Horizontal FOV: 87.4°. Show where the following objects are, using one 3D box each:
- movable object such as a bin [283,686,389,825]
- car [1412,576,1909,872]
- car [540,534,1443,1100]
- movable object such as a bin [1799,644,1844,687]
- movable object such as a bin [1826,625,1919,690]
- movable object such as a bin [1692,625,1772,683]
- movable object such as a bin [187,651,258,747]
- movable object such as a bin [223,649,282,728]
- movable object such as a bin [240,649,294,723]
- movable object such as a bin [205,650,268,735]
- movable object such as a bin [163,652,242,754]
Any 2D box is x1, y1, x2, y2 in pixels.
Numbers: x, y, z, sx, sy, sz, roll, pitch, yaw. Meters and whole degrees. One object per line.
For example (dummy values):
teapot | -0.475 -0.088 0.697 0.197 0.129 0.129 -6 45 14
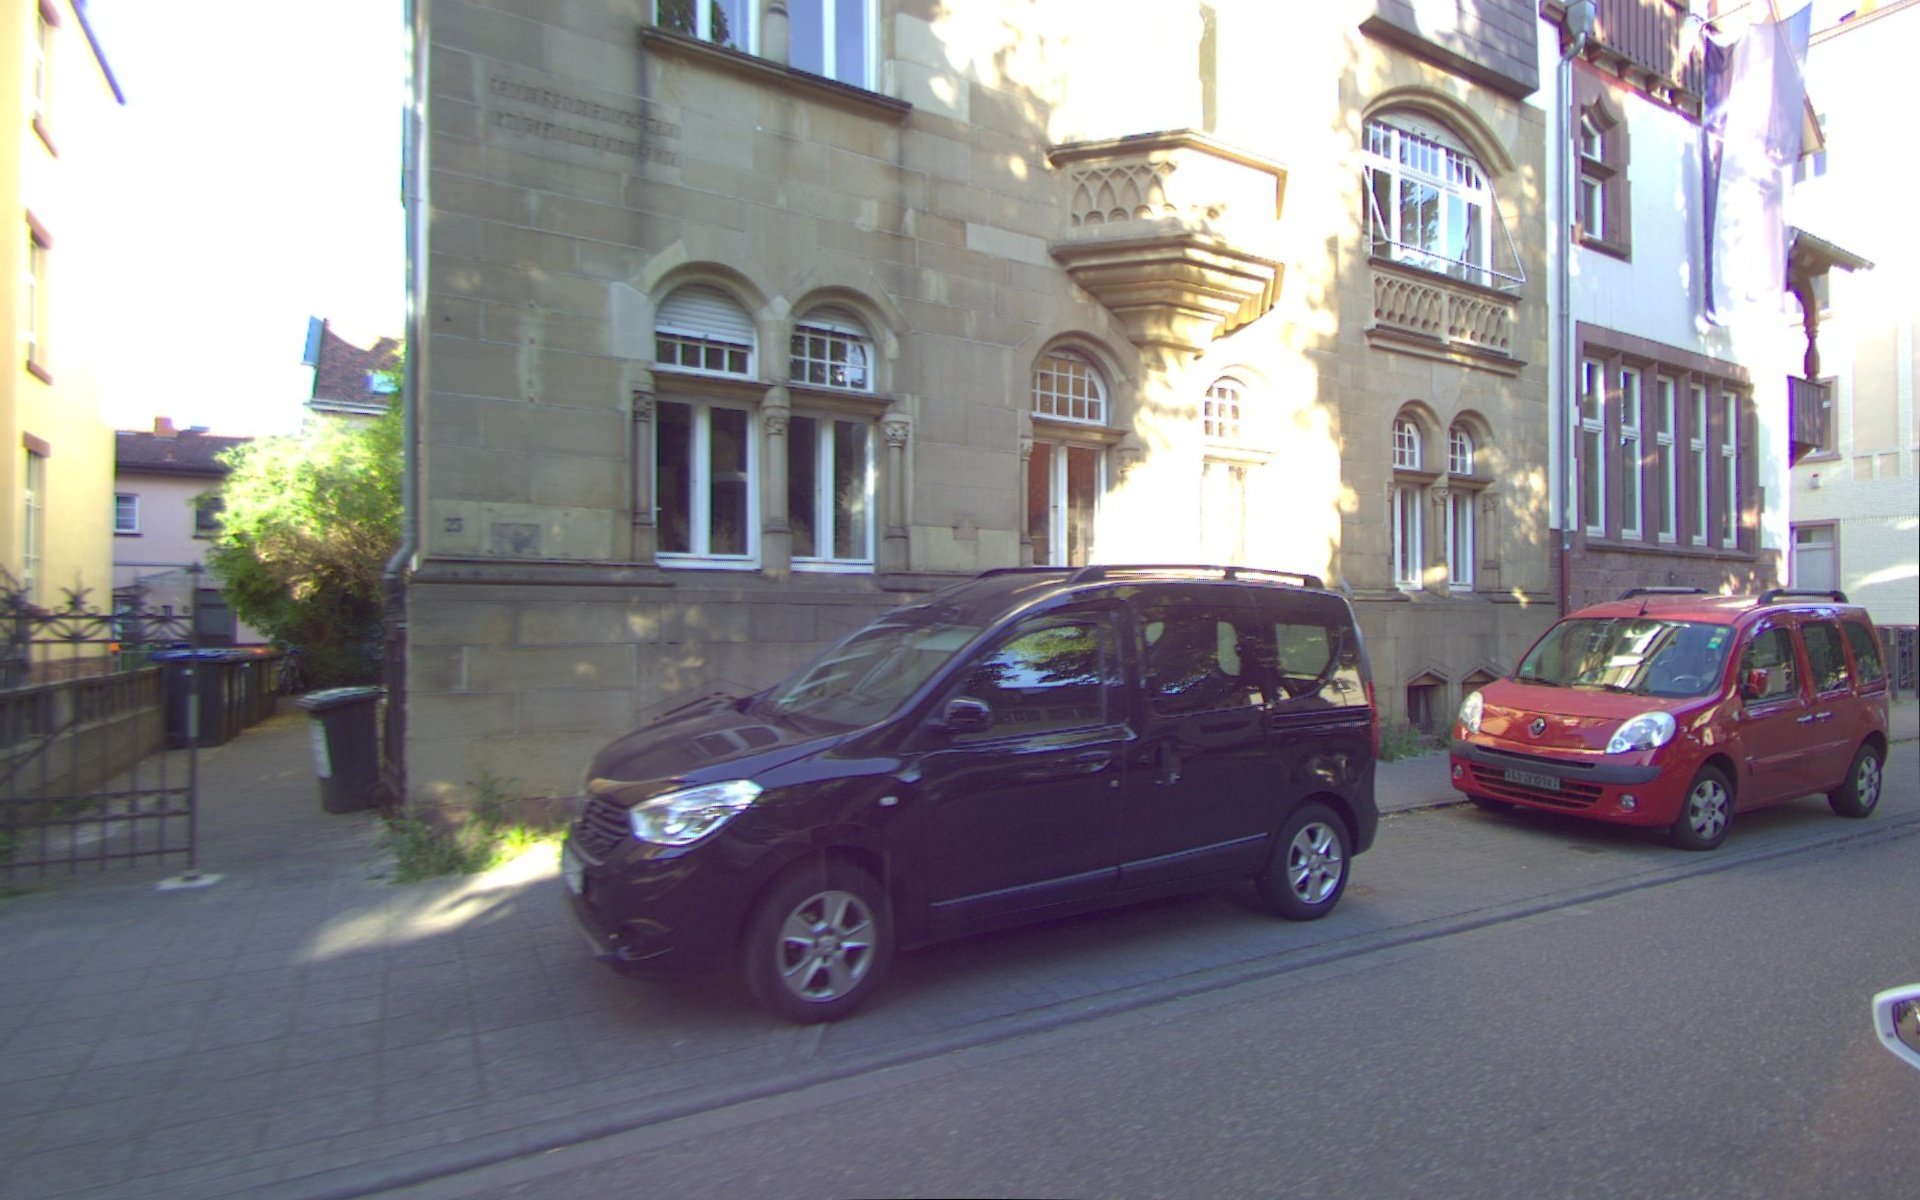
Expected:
movable object such as a bin | -4.804 1.177 7.765 0.645 0.972 0.525 1 -2 -28
car | 5.938 0.836 8.411 4.273 1.932 1.790 1 0 -30
car | 0.330 0.751 5.243 4.488 1.876 1.761 1 -1 -30
movable object such as a bin | 18.719 1.415 21.833 0.662 0.890 0.480 0 -1 -20
movable object such as a bin | 19.476 1.187 21.310 0.954 1.316 1.374 0 -1 -20
movable object such as a bin | 18.242 1.252 23.749 0.680 1.335 1.370 1 -1 -36
movable object such as a bin | -9.009 1.185 12.291 0.578 1.103 0.785 0 -2 -28
movable object such as a bin | -10.427 1.282 14.823 0.578 1.107 0.897 0 -2 -28
movable object such as a bin | -10.935 1.339 15.863 0.578 1.107 0.897 0 -2 -28
movable object such as a bin | -9.899 1.245 13.759 0.578 1.107 0.785 0 -2 -28
movable object such as a bin | -8.669 1.153 11.524 0.578 1.103 0.846 0 -2 -28
